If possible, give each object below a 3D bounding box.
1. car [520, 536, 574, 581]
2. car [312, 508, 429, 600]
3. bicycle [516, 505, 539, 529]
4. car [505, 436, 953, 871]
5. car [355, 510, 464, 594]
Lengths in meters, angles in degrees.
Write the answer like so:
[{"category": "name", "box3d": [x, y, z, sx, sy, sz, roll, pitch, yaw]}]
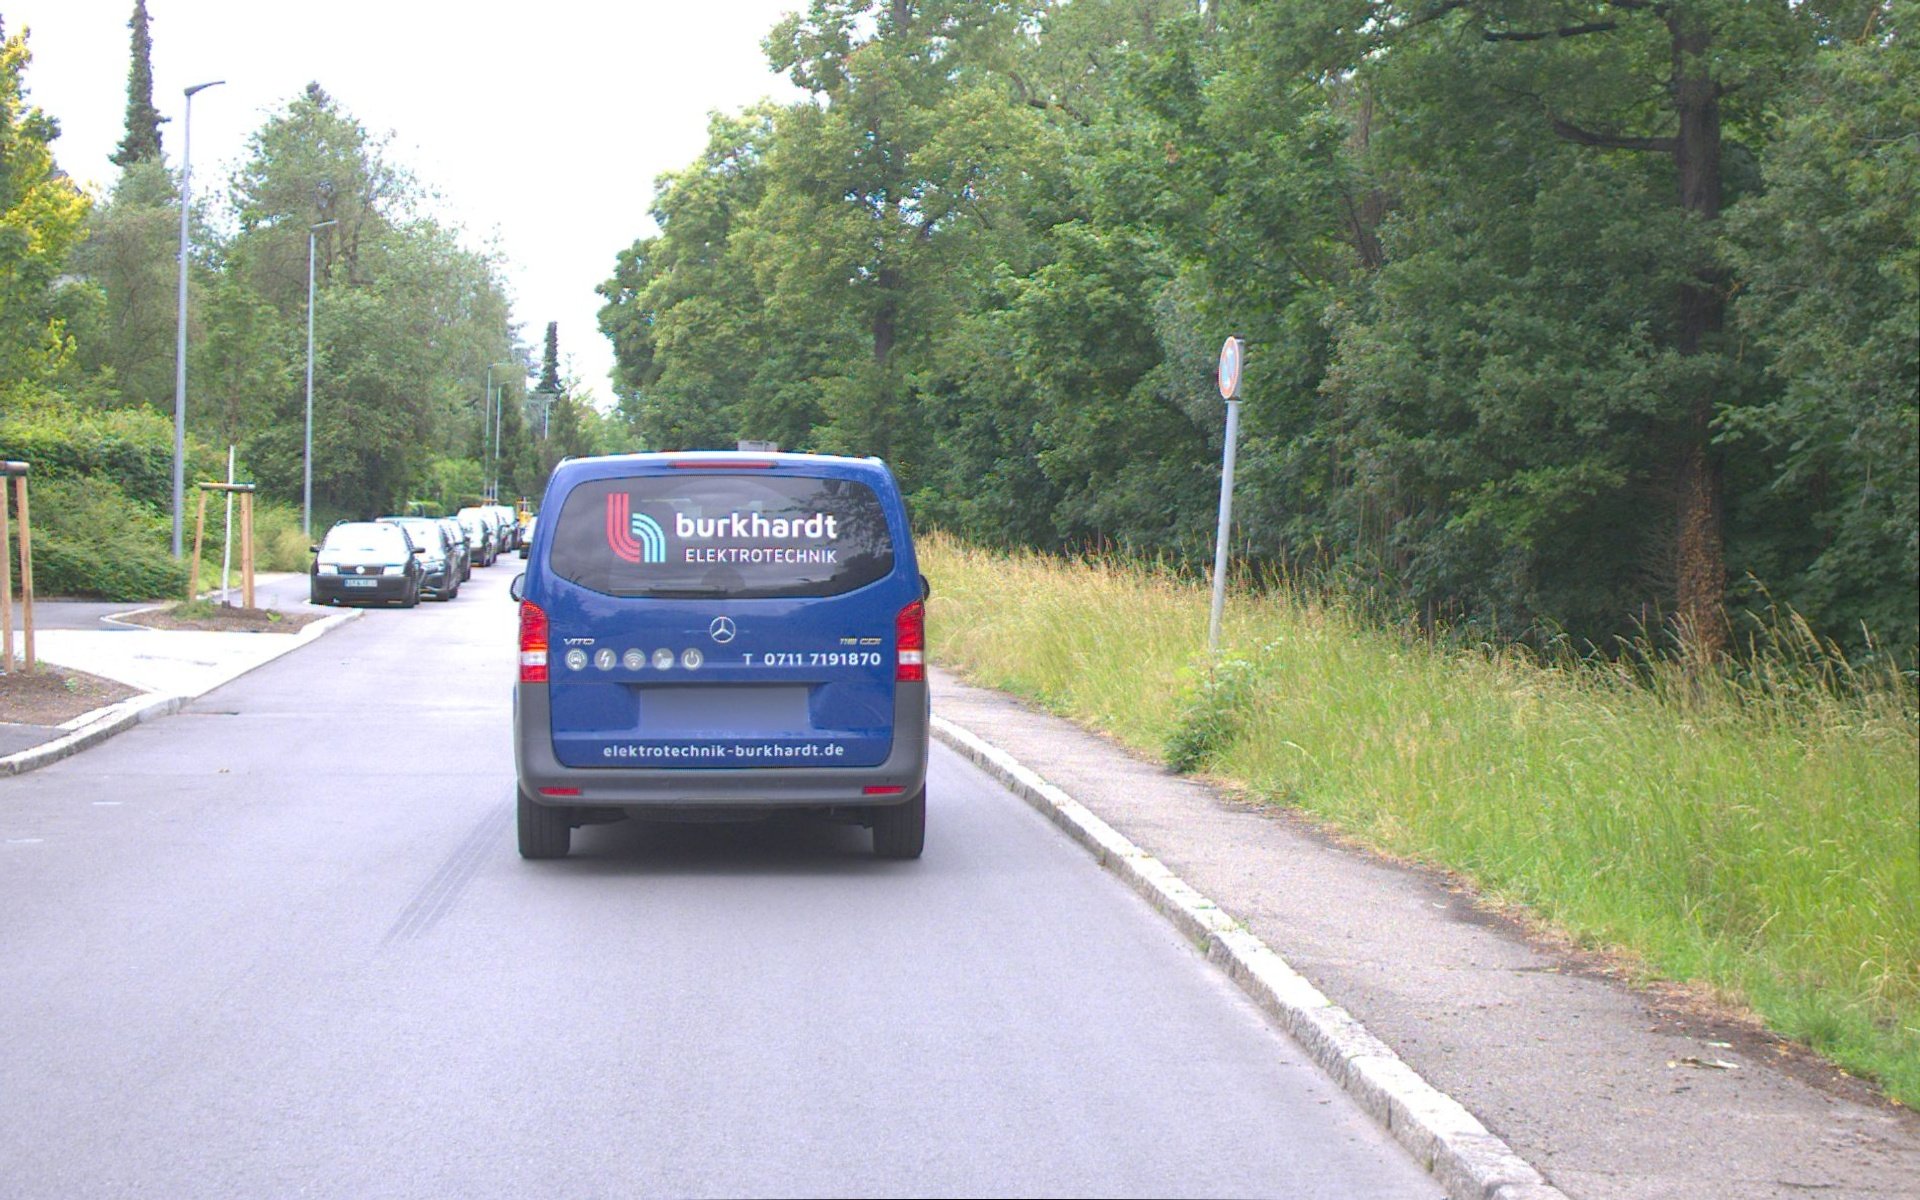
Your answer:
[{"category": "car", "box3d": [-14.265, -1.450, 118.596, 1.780, 1.421, 4.491, 2, 1, -7]}, {"category": "car", "box3d": [-10.119, -0.822, 59.215, 1.682, 1.477, 4.694, 1, 2, -6]}, {"category": "bicycle", "box3d": [-23.610, -4.530, 187.583, 0.906, 1.247, 2.916, 5, 1, -3]}, {"category": "car", "box3d": [-1.208, 0.144, 16.812, 1.888, 1.837, 4.001, 1, 3, -6]}, {"category": "car", "box3d": [-10.247, -0.930, 64.198, 1.706, 1.477, 4.497, 1, 2, -5]}]
